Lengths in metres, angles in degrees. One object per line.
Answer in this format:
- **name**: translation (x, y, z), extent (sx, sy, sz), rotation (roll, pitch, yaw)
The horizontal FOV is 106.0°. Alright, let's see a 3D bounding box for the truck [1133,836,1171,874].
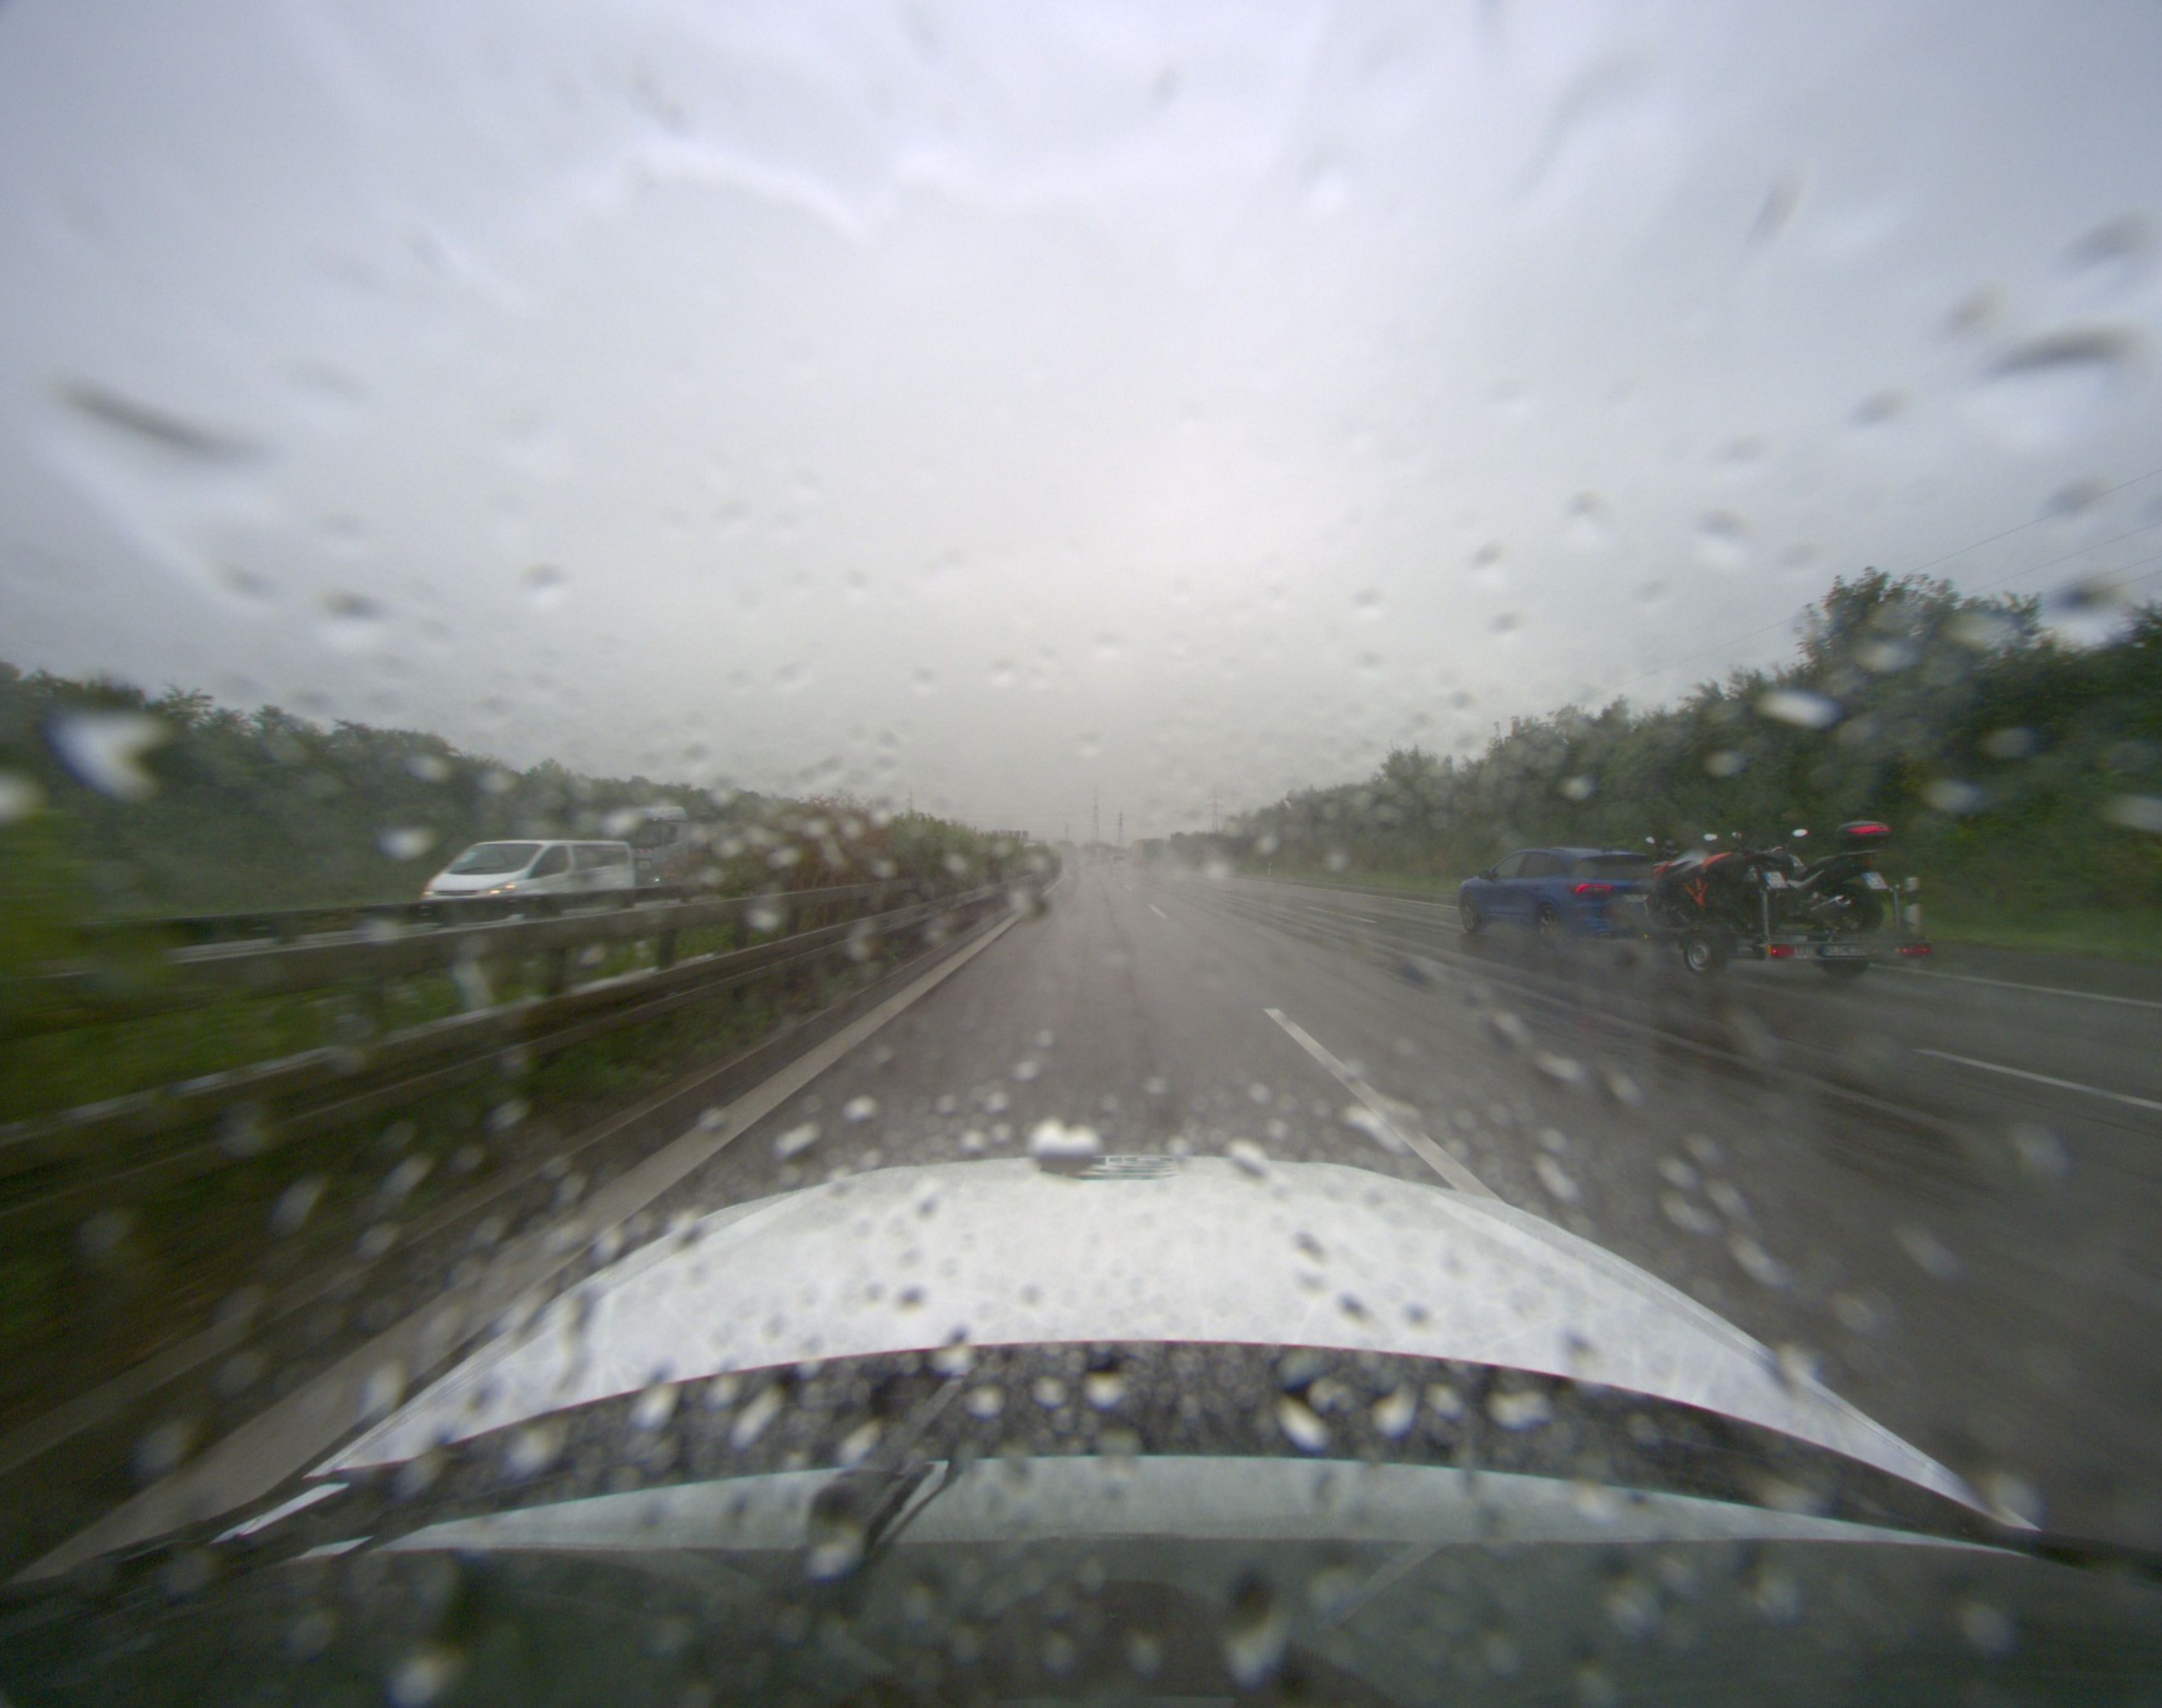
- **truck**: translation (9.251, 0.185, 107.947), extent (4.173, 4.630, 16.112), rotation (0, -1, 2)

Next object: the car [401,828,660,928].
- **car**: translation (-11.938, 0.467, 18.281), extent (1.985, 1.906, 5.323), rotation (-1, 0, 3)

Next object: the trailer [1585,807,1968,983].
- **trailer**: translation (8.112, 0.444, 9.946), extent (1.972, 1.785, 3.189), rotation (-1, -1, 1)

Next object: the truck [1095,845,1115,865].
- **truck**: translation (5.246, 0.199, 178.334), extent (3.229, 4.311, 8.817), rotation (0, 0, -6)

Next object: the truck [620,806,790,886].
- **truck**: translation (-16.353, -0.287, 36.585), extent (2.187, 3.055, 10.686), rotation (-1, 0, 3)

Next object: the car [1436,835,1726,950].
- **car**: translation (8.212, 0.585, 14.103), extent (1.987, 1.619, 4.992), rotation (-1, -1, 0)

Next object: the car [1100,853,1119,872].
- **car**: translation (3.227, 0.939, 92.542), extent (1.988, 2.013, 3.998), rotation (-1, 0, -1)
